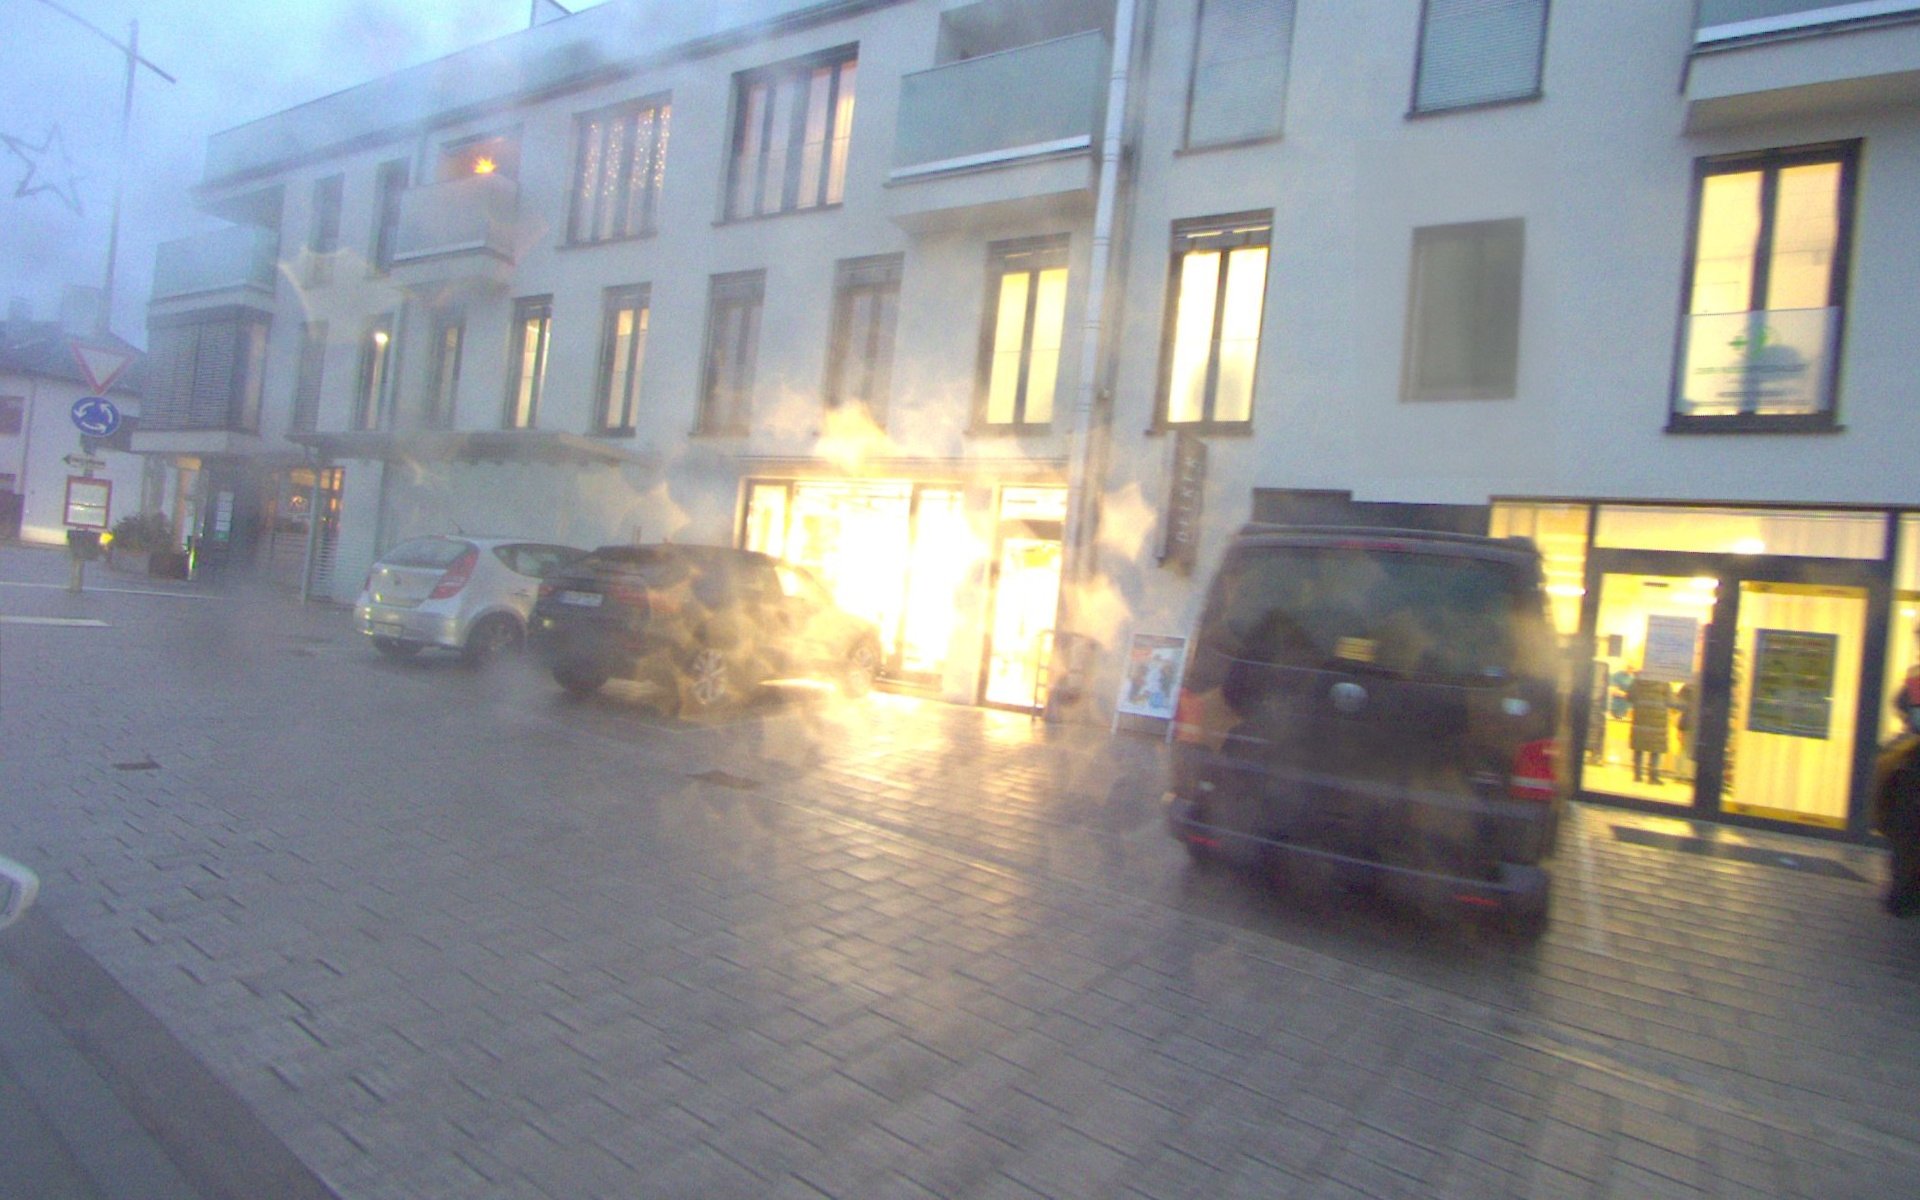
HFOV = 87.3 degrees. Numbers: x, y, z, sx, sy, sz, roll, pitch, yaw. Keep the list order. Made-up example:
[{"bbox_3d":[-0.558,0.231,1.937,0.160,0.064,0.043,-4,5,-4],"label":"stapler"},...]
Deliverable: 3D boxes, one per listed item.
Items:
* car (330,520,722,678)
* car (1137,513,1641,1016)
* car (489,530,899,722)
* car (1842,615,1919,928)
[{"bbox_3d":[-5.018,0.027,12.299,1.761,1.479,4.212,6,1,26],"label":"car"},{"bbox_3d":[2.908,0.606,6.440,1.917,1.947,4.561,6,4,30],"label":"car"},{"bbox_3d":[-2.490,0.253,10.559,1.761,1.479,4.212,6,1,26],"label":"car"},{"bbox_3d":[5.696,1.105,4.117,1.771,1.663,4.177,7,5,24],"label":"car"}]
